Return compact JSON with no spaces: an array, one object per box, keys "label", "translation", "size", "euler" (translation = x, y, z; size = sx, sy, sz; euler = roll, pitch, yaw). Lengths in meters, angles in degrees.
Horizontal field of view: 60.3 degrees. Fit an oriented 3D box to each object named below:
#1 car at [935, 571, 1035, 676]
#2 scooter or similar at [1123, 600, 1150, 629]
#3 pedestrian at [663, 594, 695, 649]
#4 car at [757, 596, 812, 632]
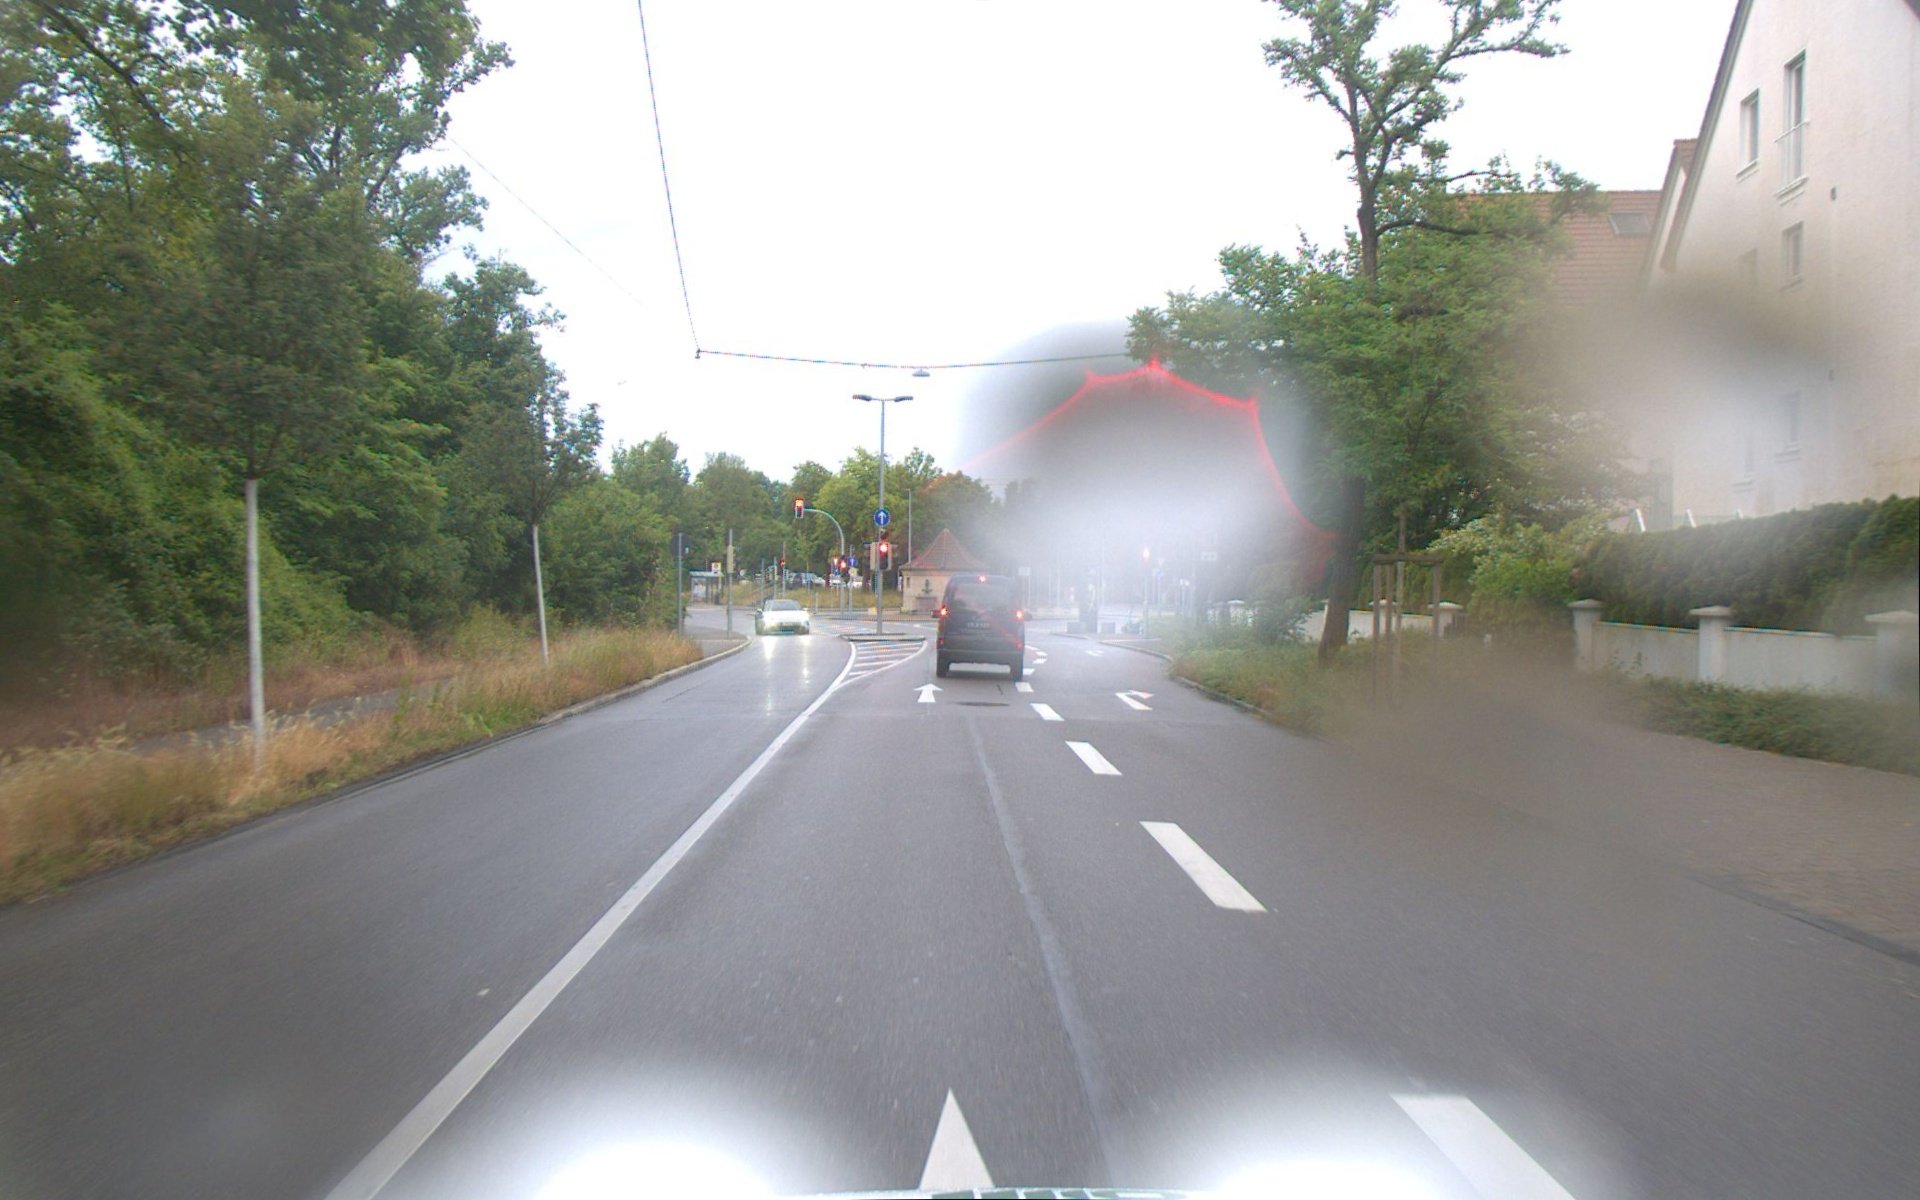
[{"label":"car","translation":[0.407,0.405,31.244],"size":[1.696,1.817,3.999],"euler":[1,0,-1]},{"label":"scooter or similar","translation":[7.697,0.642,72.146],"size":[1.125,1.240,0.406],"euler":[1,-1,0]},{"label":"pedestrian","translation":[-10.744,0.825,63.357],"size":[1.066,2.049,0.999],"euler":[1,-1,-4]},{"label":"car","translation":[-7.239,0.535,67.962],"size":[1.957,1.334,4.350],"euler":[-2,1,-10]}]
